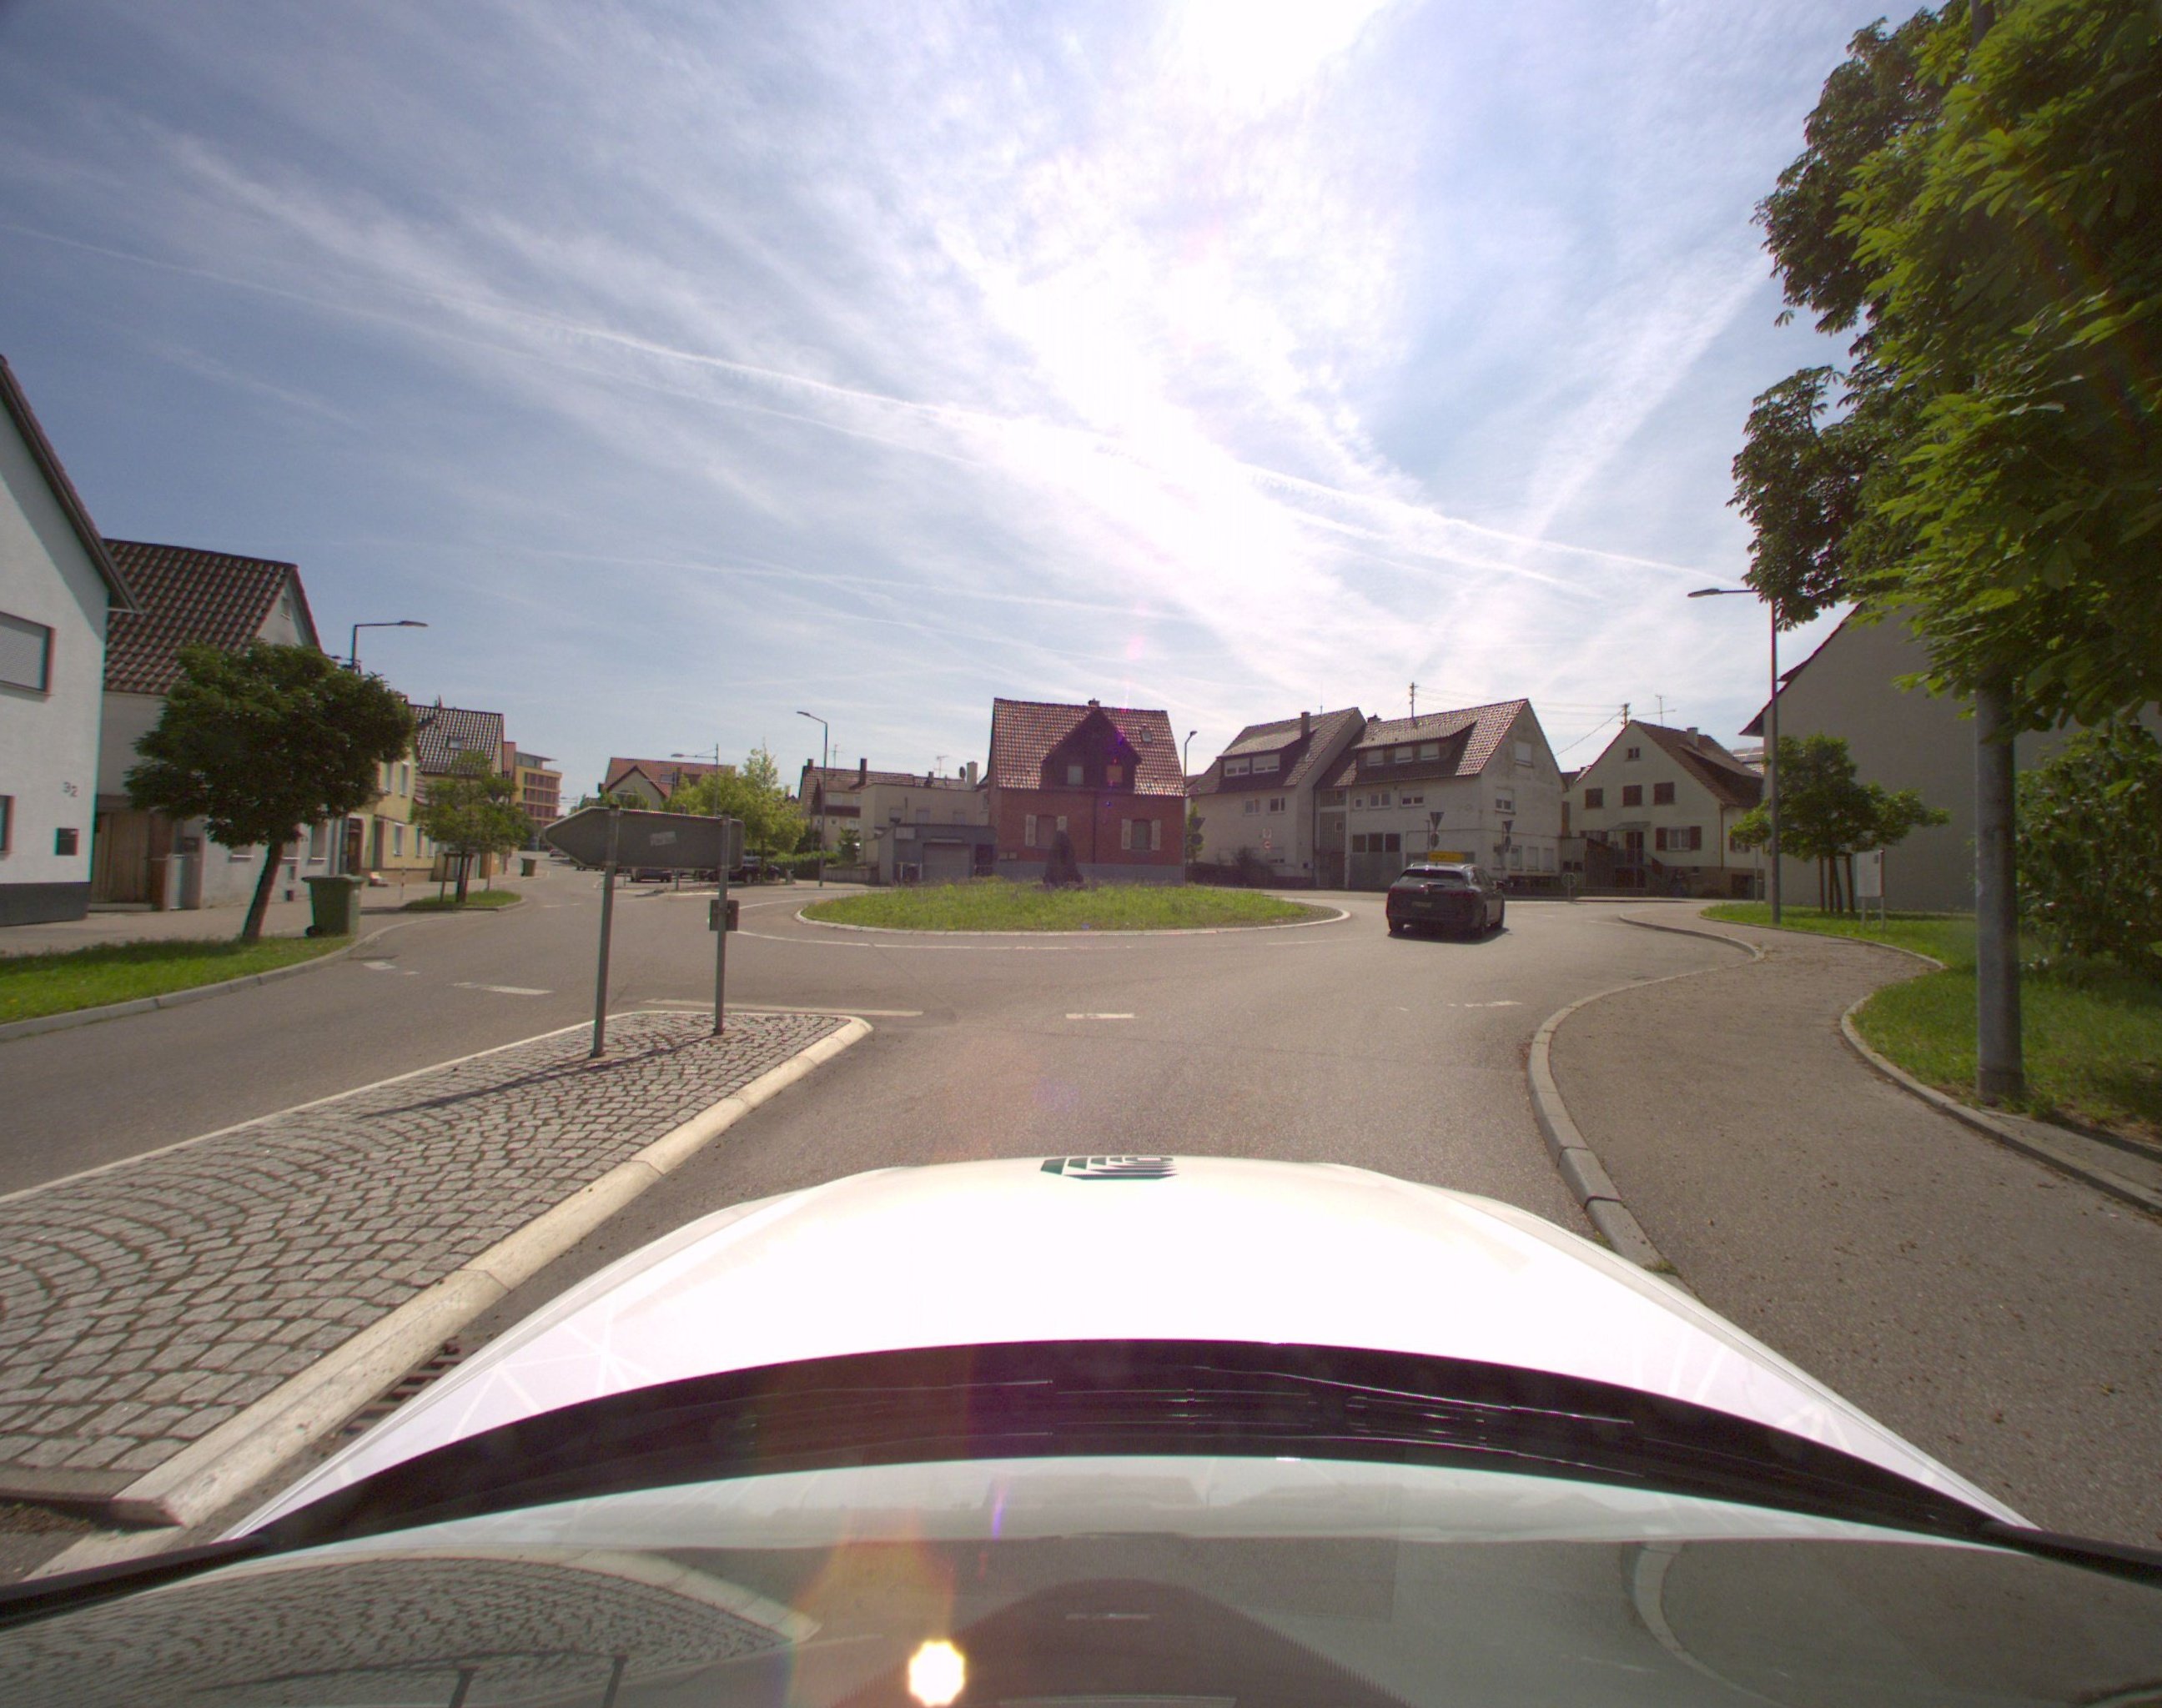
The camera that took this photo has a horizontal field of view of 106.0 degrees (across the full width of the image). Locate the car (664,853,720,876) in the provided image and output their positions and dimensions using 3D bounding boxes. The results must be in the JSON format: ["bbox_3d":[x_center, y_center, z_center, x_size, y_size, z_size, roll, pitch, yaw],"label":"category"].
[{"bbox_3d":[-29.457,0.820,61.821,1.856,1.669,4.008,1,-1,7],"label":"car"}]

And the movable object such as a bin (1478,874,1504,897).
[{"bbox_3d":[19.681,1.503,39.083,0.821,1.045,0.811,1,-1,-1],"label":"movable object such as a bin"}]

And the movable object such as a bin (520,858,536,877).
[{"bbox_3d":[-32.323,0.790,47.609,0.703,1.052,0.667,1,-1,-39],"label":"movable object such as a bin"}]

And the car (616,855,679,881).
[{"bbox_3d":[-24.594,0.792,46.112,4.163,1.391,1.889,0,-2,44],"label":"car"}]

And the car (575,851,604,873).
[{"bbox_3d":[-46.859,0.752,77.646,2.126,2.014,3.958,2,-1,-34],"label":"car"}]

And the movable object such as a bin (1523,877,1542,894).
[{"bbox_3d":[24.670,1.717,44.486,0.701,0.896,0.677,1,-1,-37],"label":"movable object such as a bin"}]

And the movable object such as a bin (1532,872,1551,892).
[{"bbox_3d":[25.414,1.541,44.953,0.628,1.082,0.677,1,-1,-37],"label":"movable object such as a bin"}]

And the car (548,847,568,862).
[{"bbox_3d":[-73.208,0.015,113.989,2.126,2.014,3.958,2,-1,-34],"label":"car"}]

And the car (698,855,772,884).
[{"bbox_3d":[-20.723,0.924,48.988,1.797,1.618,4.019,1,-1,19],"label":"car"}]

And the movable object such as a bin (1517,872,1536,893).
[{"bbox_3d":[24.083,1.544,44.047,0.701,1.086,0.677,1,-1,-37],"label":"movable object such as a bin"}]

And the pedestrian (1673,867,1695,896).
[{"bbox_3d":[33.089,1.510,44.686,0.627,1.574,0.774,1,-1,-19],"label":"pedestrian"}]

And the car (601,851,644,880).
[{"bbox_3d":[-33.617,0.848,59.666,2.128,2.014,3.954,2,-1,-38],"label":"car"}]

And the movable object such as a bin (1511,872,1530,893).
[{"bbox_3d":[23.533,1.535,43.622,0.648,1.086,0.677,1,-1,-37],"label":"movable object such as a bin"}]

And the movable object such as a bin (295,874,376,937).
[{"bbox_3d":[-12.946,0.872,14.169,0.906,1.048,0.574,1,-1,-29],"label":"movable object such as a bin"}]

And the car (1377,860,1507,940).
[{"bbox_3d":[7.740,0.862,17.177,1.823,1.420,4.711,1,0,32],"label":"car"}]
